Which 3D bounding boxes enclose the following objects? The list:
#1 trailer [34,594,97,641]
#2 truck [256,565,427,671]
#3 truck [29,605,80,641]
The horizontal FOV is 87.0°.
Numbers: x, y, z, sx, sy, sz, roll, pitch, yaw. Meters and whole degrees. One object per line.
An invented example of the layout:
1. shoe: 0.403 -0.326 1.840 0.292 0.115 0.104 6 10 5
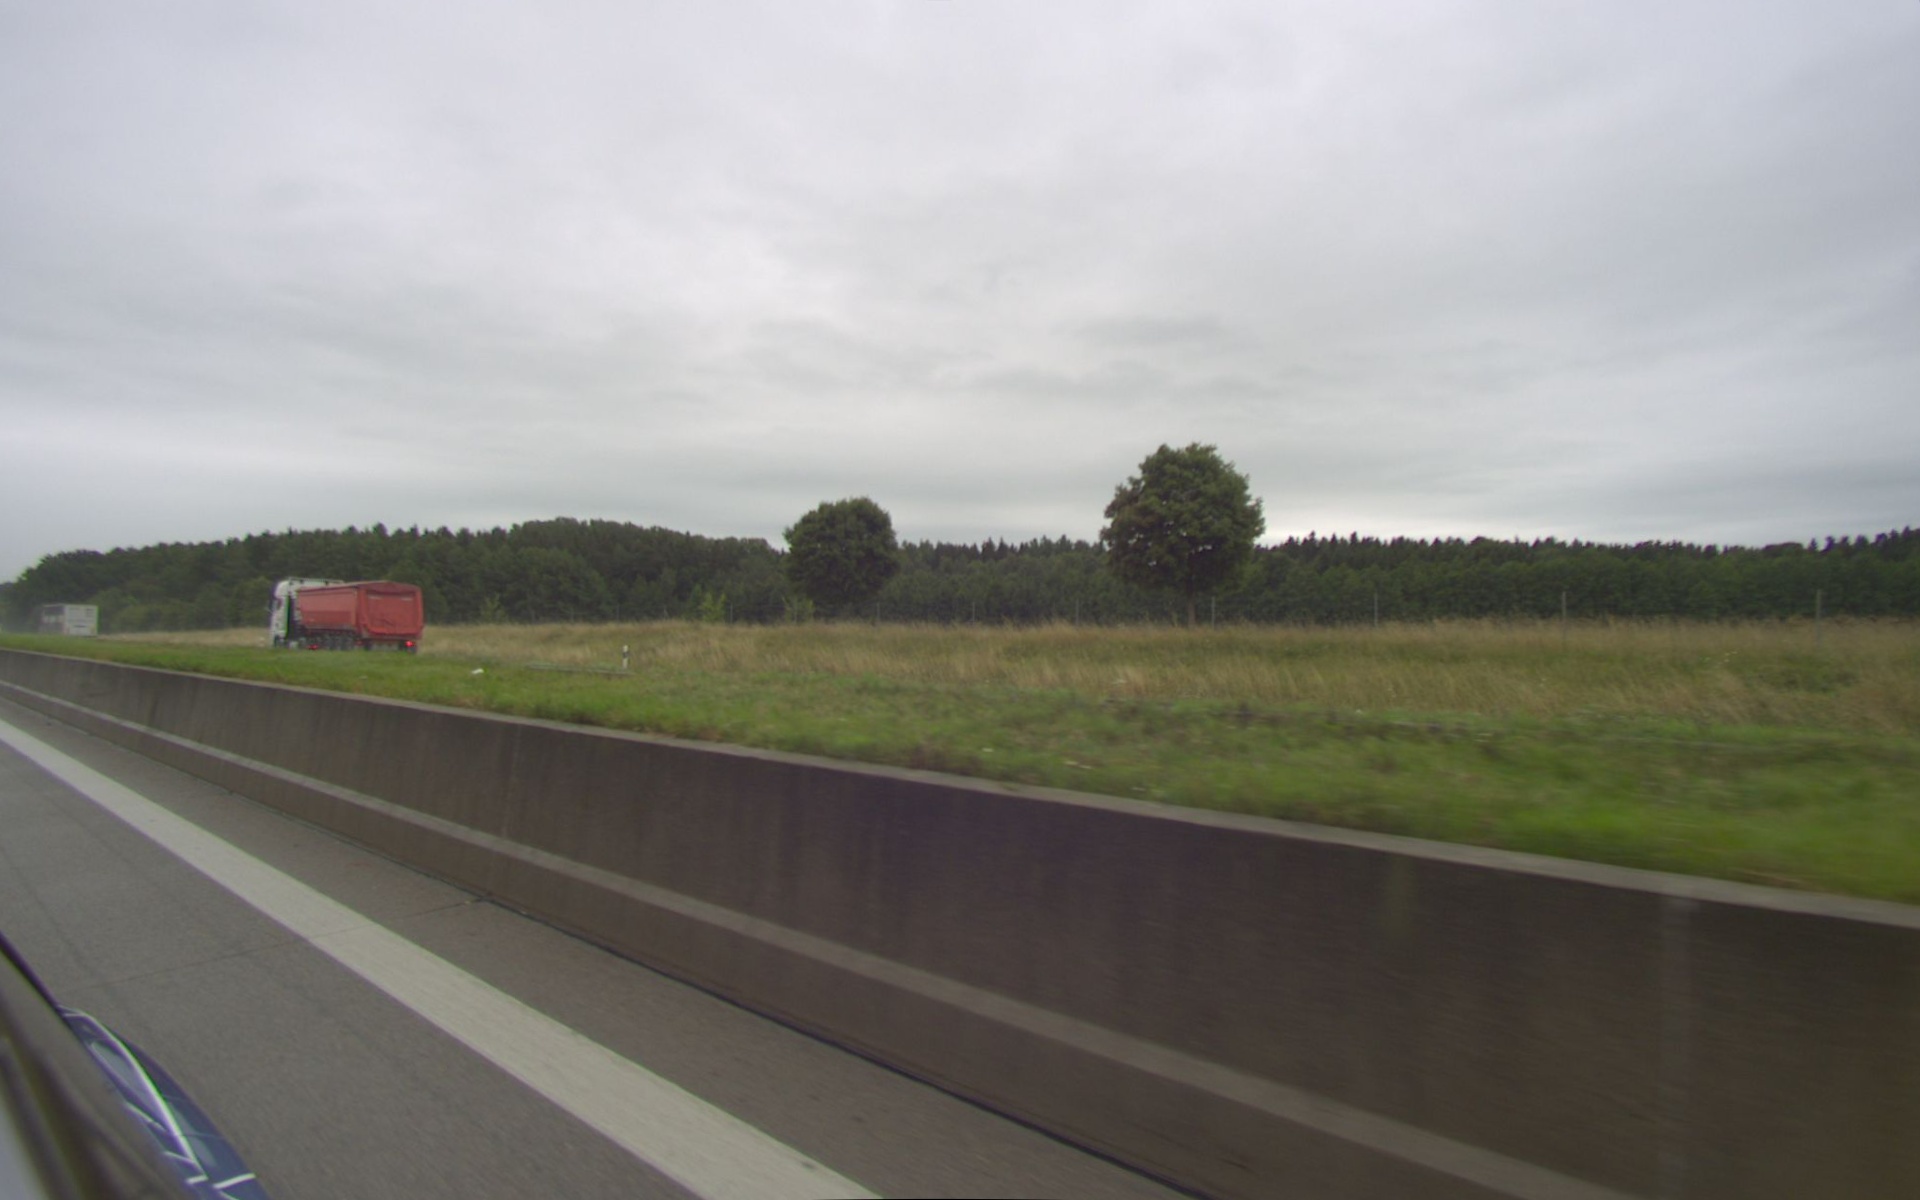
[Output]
1. trailer: -87.781 1.786 99.177 13.550 4.373 3.193 -1 -2 42
2. truck: -28.257 0.721 45.796 13.098 4.238 2.725 0 -2 41
3. truck: -92.970 2.368 103.876 6.034 3.500 3.163 -1 -2 42
